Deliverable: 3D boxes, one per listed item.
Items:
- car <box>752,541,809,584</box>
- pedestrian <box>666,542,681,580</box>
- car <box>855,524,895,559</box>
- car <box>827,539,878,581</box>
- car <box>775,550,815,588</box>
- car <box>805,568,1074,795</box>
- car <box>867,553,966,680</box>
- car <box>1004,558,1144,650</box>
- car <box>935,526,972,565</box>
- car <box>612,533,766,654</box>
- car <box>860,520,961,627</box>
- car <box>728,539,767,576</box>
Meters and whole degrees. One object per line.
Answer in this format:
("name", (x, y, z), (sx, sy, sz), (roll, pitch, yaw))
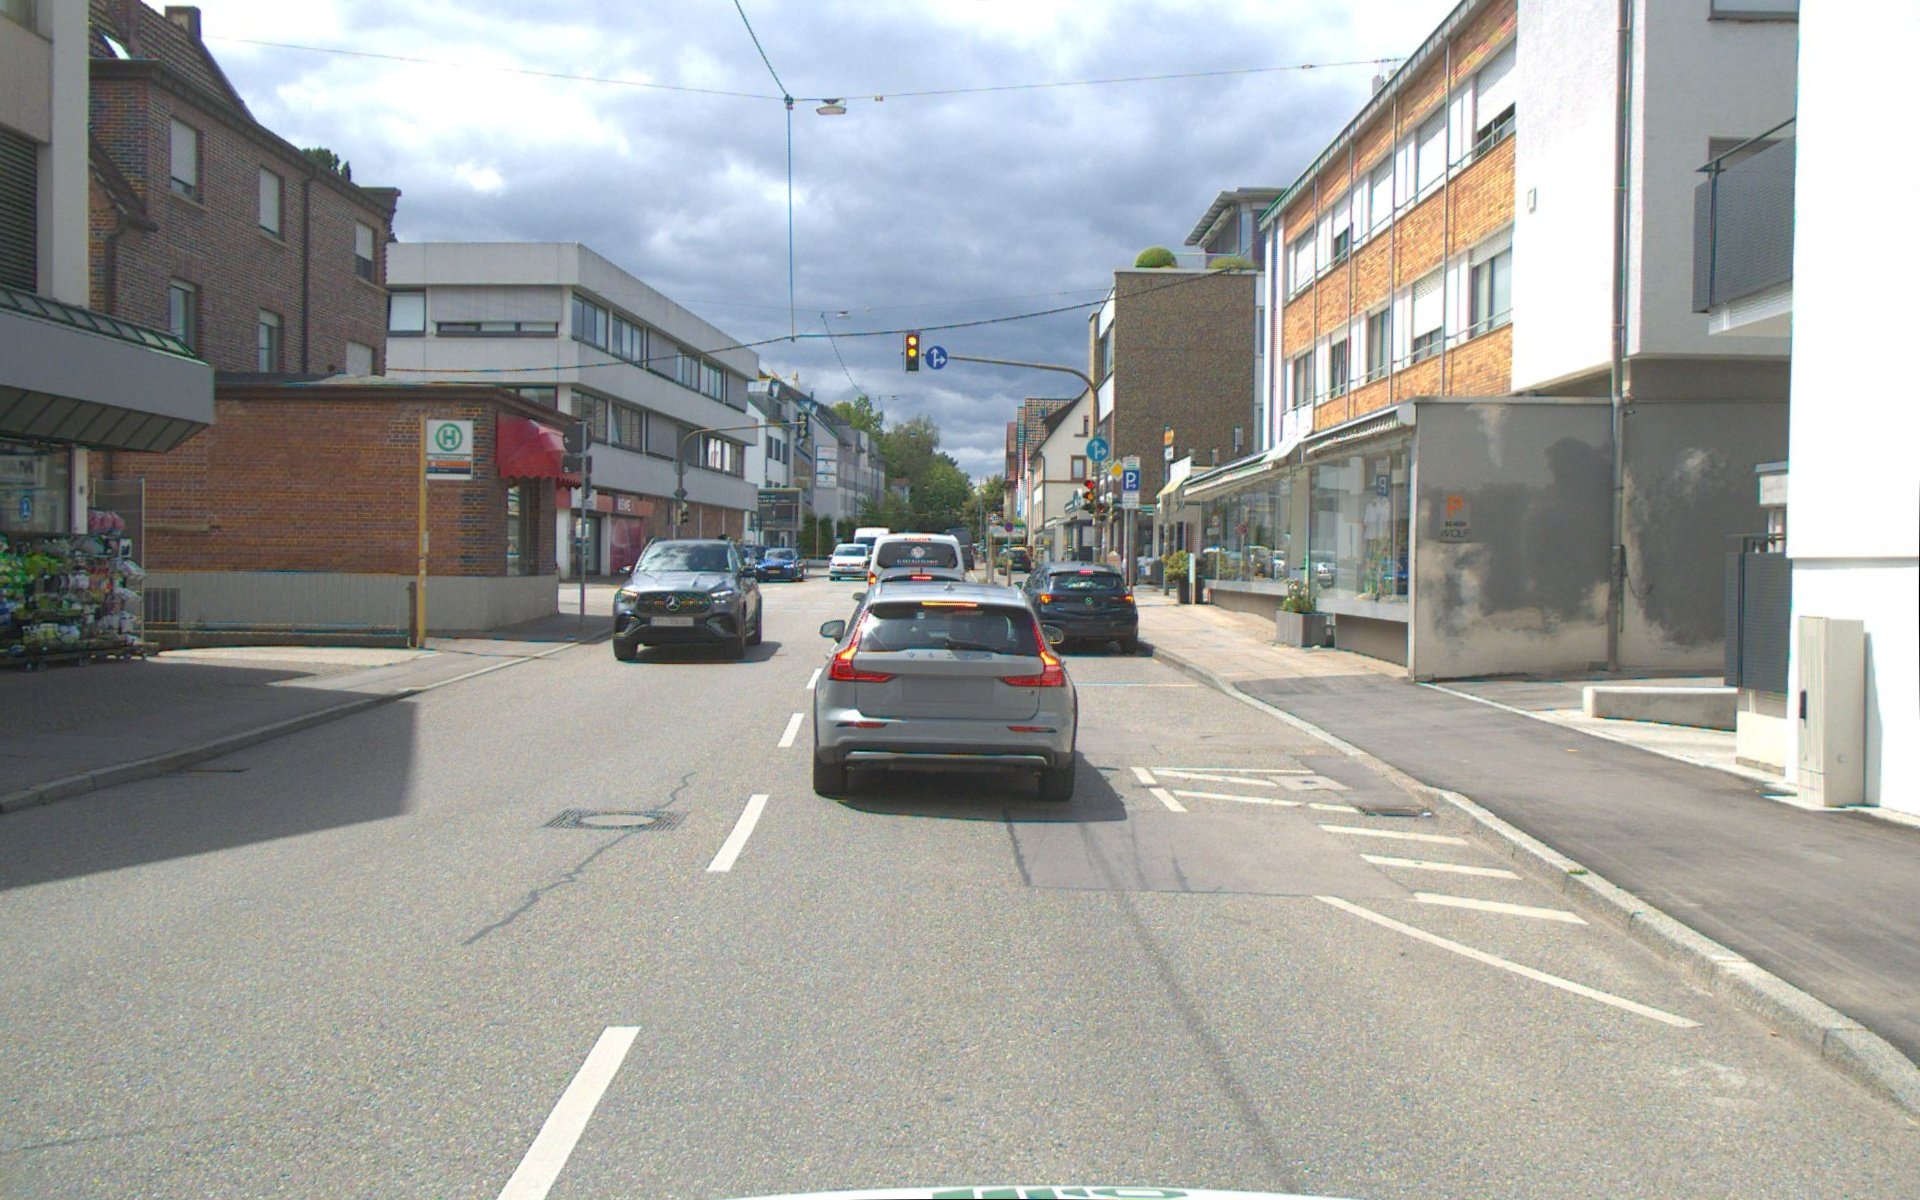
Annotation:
("car", (-7.664, -1.589, 70.915), (1.834, 1.668, 4.001), (2, -1, 2))
("pedestrian", (-11.042, -1.497, 63.692), (0.506, 1.461, 0.487), (0, 0, -19))
("car", (-4.570, -3.133, 89.238), (1.834, 1.669, 4.001), (1, -1, 2))
("car", (-4.811, -1.771, 74.454), (1.834, 1.668, 4.001), (2, -1, 2))
("car", (-9.541, -1.775, 95.866), (1.953, 2.049, 3.999), (2, -1, -1))
("car", (-0.145, 0.529, 12.558), (1.708, 1.441, 3.999), (0, 0, -1))
("car", (-0.576, 0.167, 22.565), (1.248, 1.554, 3.050), (0, 3, -1))
("car", (1.875, 0.015, 28.329), (1.719, 1.394, 3.996), (1, 2, -6))
("car", (-0.452, -3.680, 112.323), (2.387, 2.359, 5.325), (2, 0, -1))
("car", (-4.186, -0.094, 26.163), (1.802, 1.756, 4.350), (0, 0, -1))
("car", (-0.908, -0.472, 31.779), (1.799, 1.894, 3.850), (1, 0, -1))
("car", (-9.766, -1.927, 76.061), (1.356, 1.568, 3.398), (1, -1, 0))
